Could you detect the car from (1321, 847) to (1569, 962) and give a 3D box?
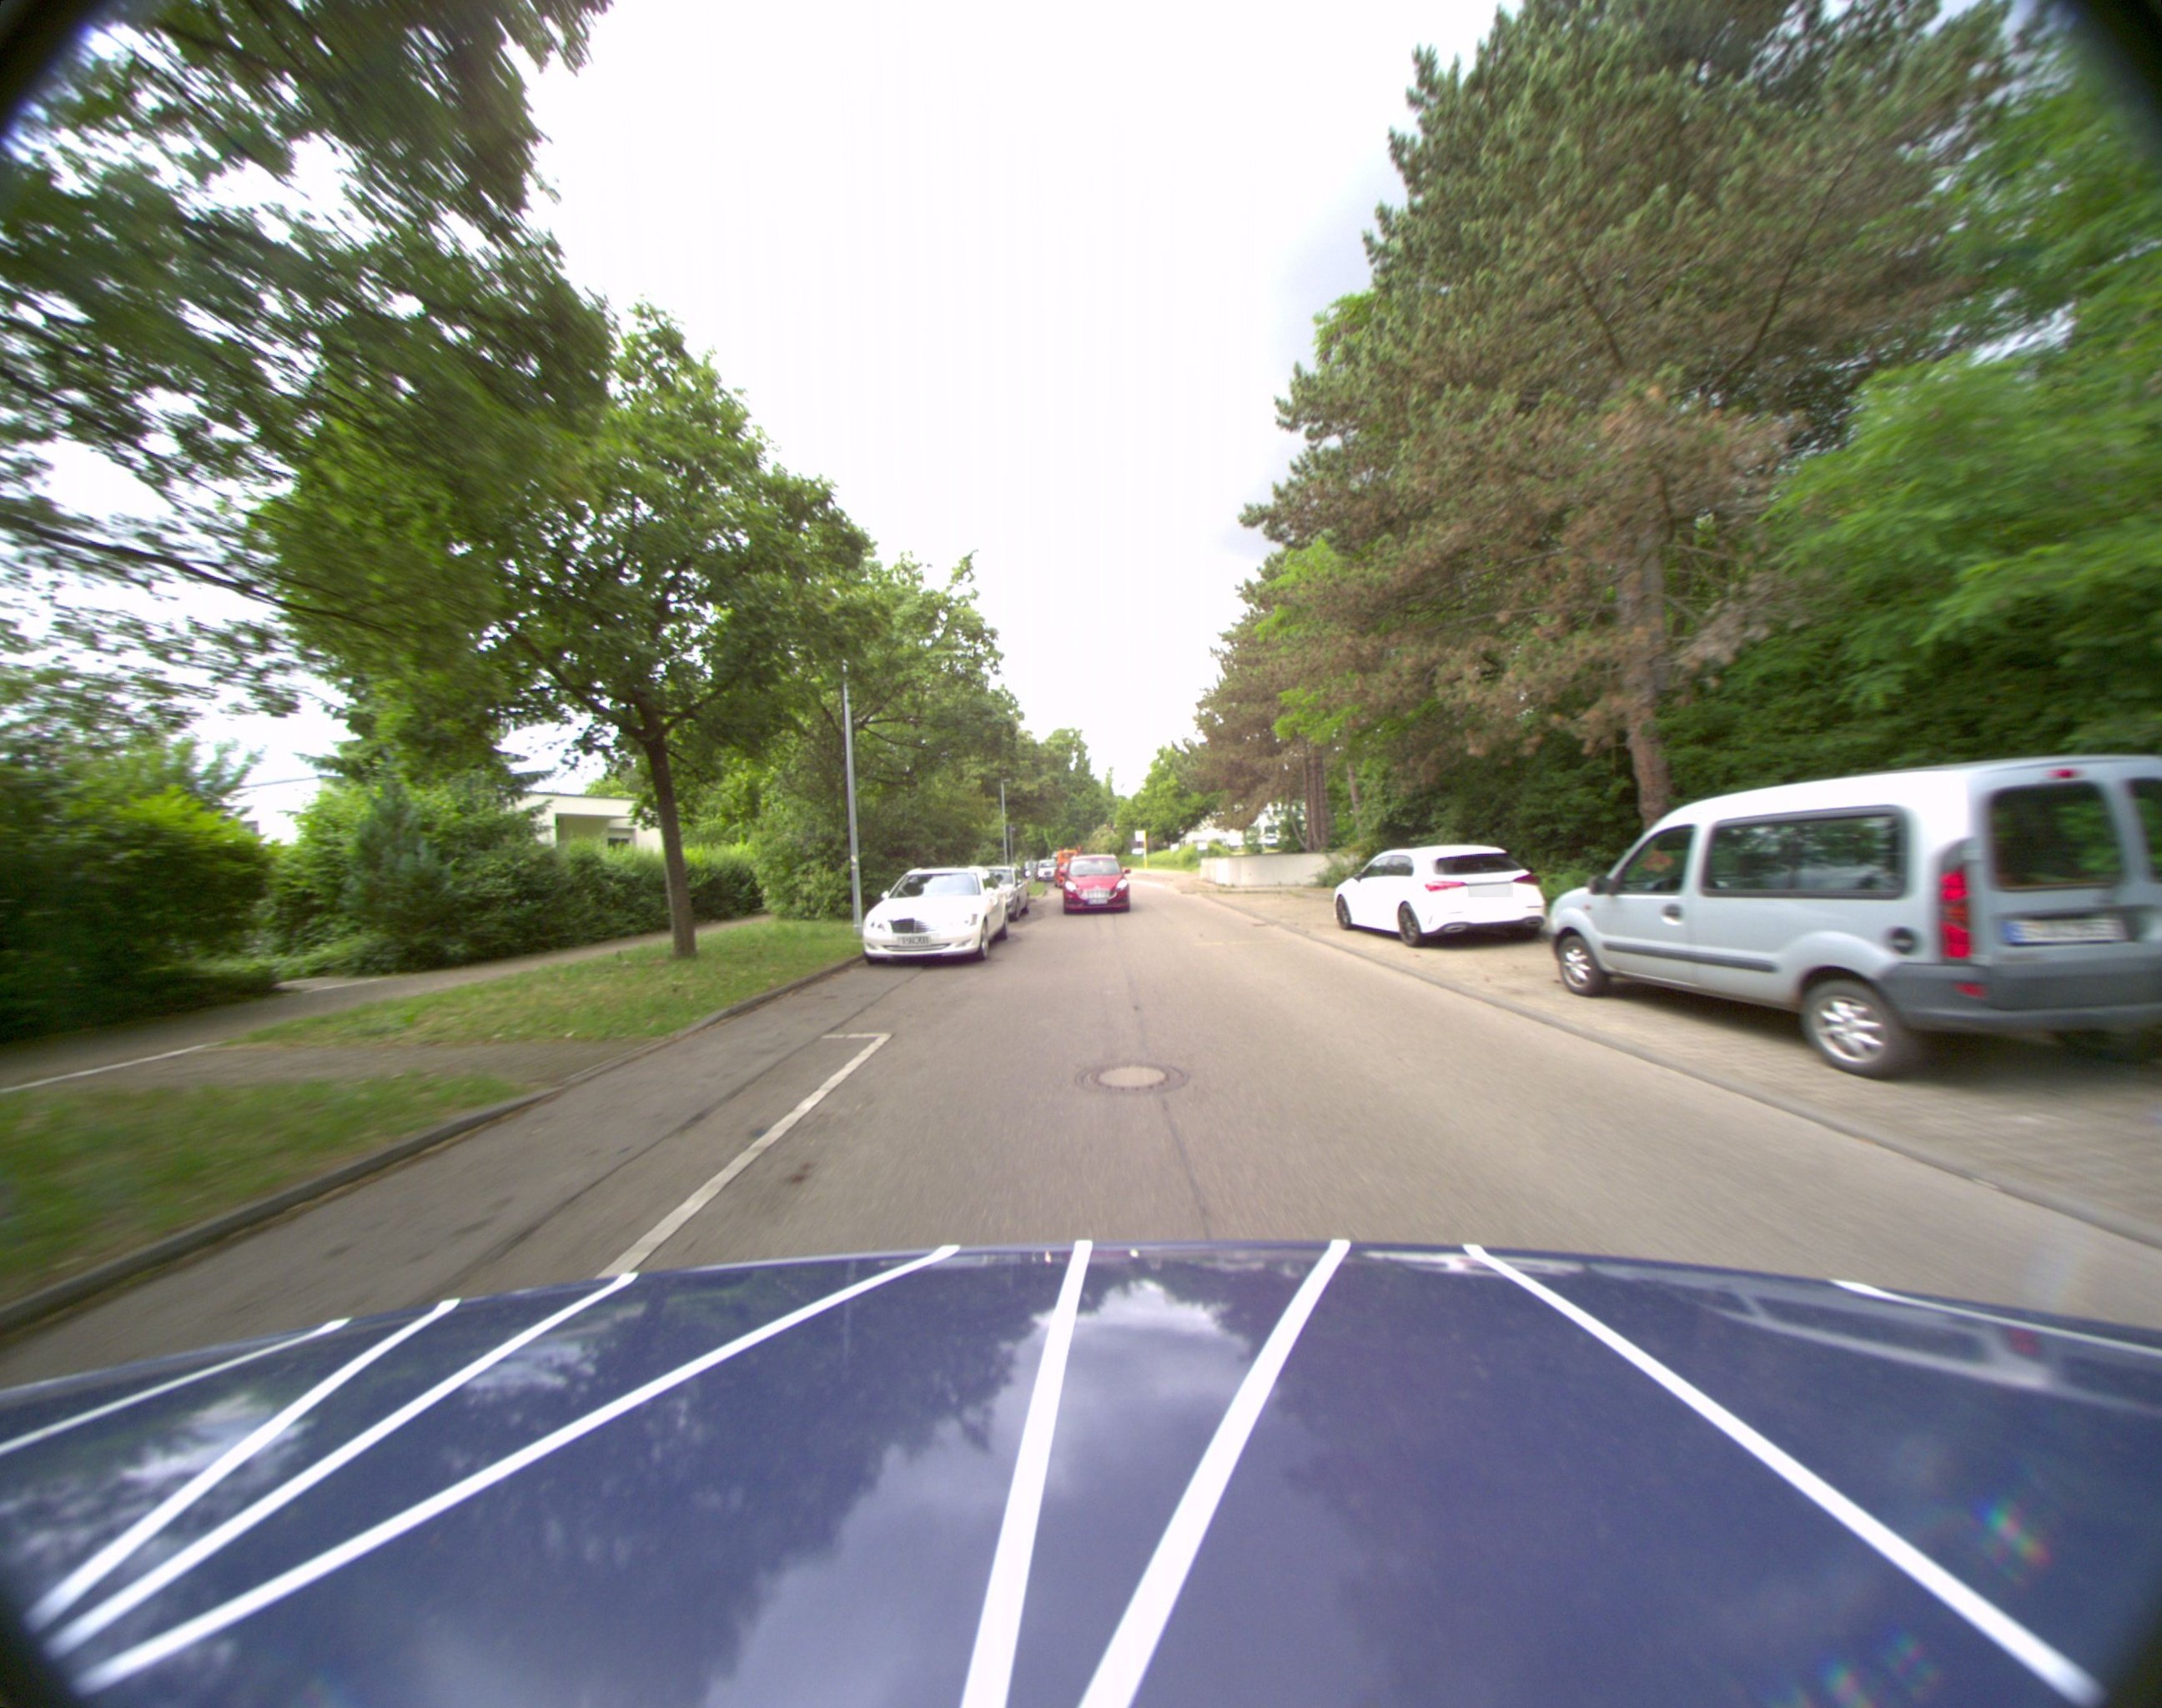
[{"bbox_3d":[5.520,0.678,12.274,1.810,1.394,4.371,-4,0,0],"label":"car"}]

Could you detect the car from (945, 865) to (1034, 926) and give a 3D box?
[{"bbox_3d":[-2.410,1.066,21.027,1.797,1.402,4.059,-2,0,2],"label":"car"}]

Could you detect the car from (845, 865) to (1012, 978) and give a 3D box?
[{"bbox_3d":[-2.449,1.019,13.653,1.891,1.498,5.176,-2,0,0],"label":"car"}]

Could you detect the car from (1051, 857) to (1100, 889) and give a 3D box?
[{"bbox_3d":[-0.355,0.981,41.375,1.949,1.522,4.082,-4,1,-10],"label":"car"}]

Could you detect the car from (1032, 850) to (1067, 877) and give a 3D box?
[{"bbox_3d":[-2.335,0.649,55.465,2.000,1.684,3.996,-5,1,-8],"label":"car"}]

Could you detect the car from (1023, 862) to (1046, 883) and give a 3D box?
[{"bbox_3d":[-4.429,1.715,72.529,1.999,1.663,3.998,-4,1,-3],"label":"car"}]

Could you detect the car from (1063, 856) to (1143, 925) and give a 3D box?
[{"bbox_3d":[0.588,0.955,21.833,1.945,1.550,4.355,-4,1,1],"label":"car"}]

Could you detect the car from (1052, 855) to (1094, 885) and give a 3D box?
[{"bbox_3d":[-0.469,0.839,41.667,1.999,1.503,3.998,-1,1,-5],"label":"car"}]

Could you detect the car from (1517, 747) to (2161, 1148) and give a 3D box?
[{"bbox_3d":[5.358,0.454,5.778,1.725,1.910,4.105,-4,-1,2],"label":"car"}]

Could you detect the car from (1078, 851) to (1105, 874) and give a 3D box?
[{"bbox_3d":[0.813,0.632,61.686,1.999,1.725,5.336,-3,0,-1],"label":"car"}]

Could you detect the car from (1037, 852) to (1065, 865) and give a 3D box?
[{"bbox_3d":[-4.607,0.660,117.570,3.803,1.629,2.002,-4,2,25],"label":"car"}]

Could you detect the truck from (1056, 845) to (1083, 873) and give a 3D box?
[{"bbox_3d":[-1.072,0.461,74.223,2.328,2.455,6.020,-4,0,0],"label":"truck"}]
